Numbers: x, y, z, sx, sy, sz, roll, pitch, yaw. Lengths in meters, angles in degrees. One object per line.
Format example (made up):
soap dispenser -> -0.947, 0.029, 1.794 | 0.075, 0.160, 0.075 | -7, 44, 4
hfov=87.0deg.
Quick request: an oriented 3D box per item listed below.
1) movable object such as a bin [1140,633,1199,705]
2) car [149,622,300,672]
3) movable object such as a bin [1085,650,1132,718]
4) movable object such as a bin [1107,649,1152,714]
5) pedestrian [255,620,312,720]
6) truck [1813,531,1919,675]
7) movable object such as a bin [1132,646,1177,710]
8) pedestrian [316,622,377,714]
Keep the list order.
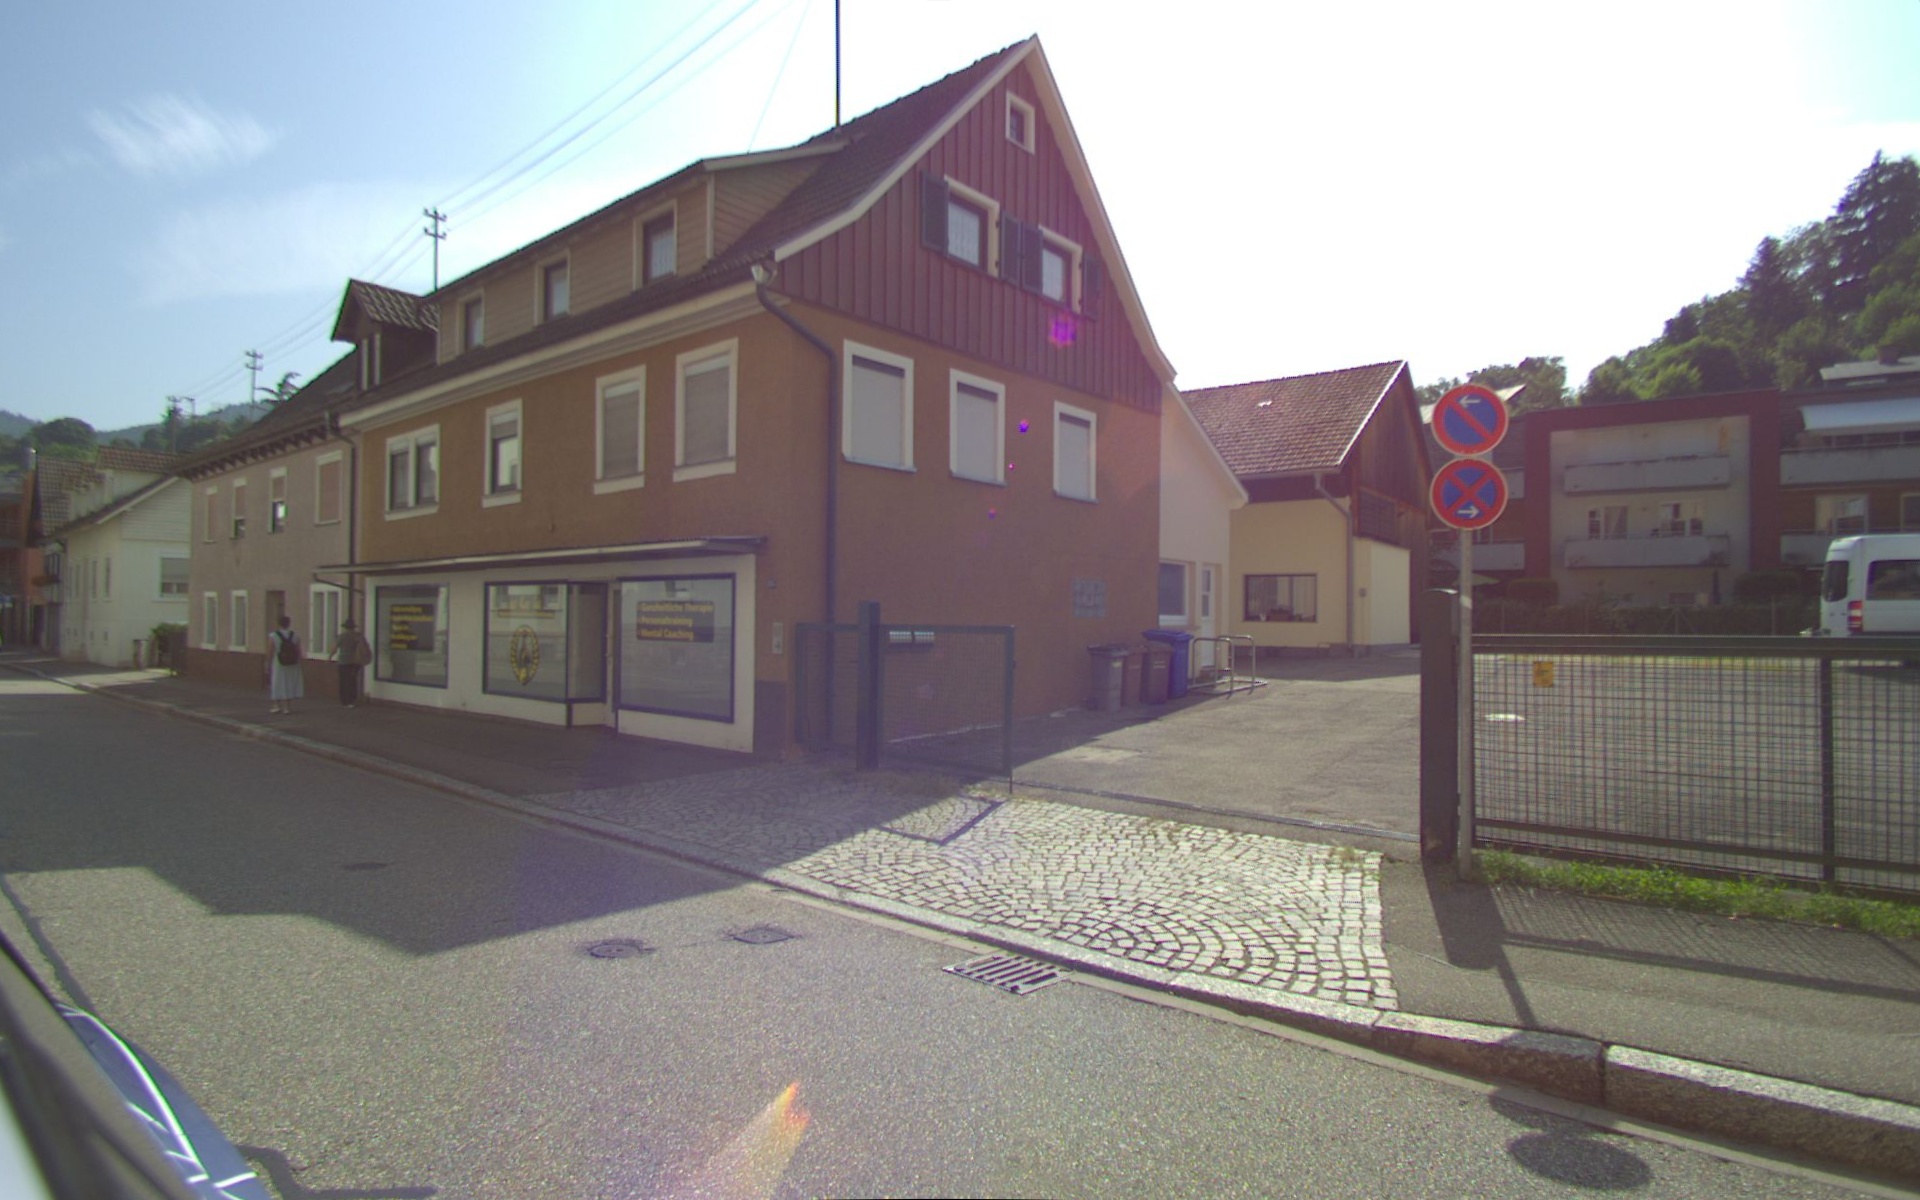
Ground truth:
movable object such as a bin -> 3.319, 1.079, 16.033 | 0.744, 1.102, 0.538 | -2, -1, 41
car -> -25.794, 1.611, 35.594 | 1.905, 1.606, 3.948 | -1, -1, 38
movable object such as a bin -> 2.140, 1.199, 14.604 | 0.486, 0.929, 0.473 | -2, -1, 41
movable object such as a bin -> 2.526, 1.201, 15.076 | 0.486, 0.929, 0.473 | -2, -1, 41
pedestrian -> -11.543, 1.169, 17.268 | 0.777, 1.638, 0.632 | -2, 0, 43
truck -> 19.050, -0.007, 19.120 | 4.063, 2.672, 1.940 | -3, 0, 29
movable object such as a bin -> 2.961, 1.171, 15.420 | 0.486, 0.929, 0.473 | -2, -1, 41
pedestrian -> -11.018, 1.196, 18.172 | 0.824, 1.576, 0.727 | -2, -1, 42
